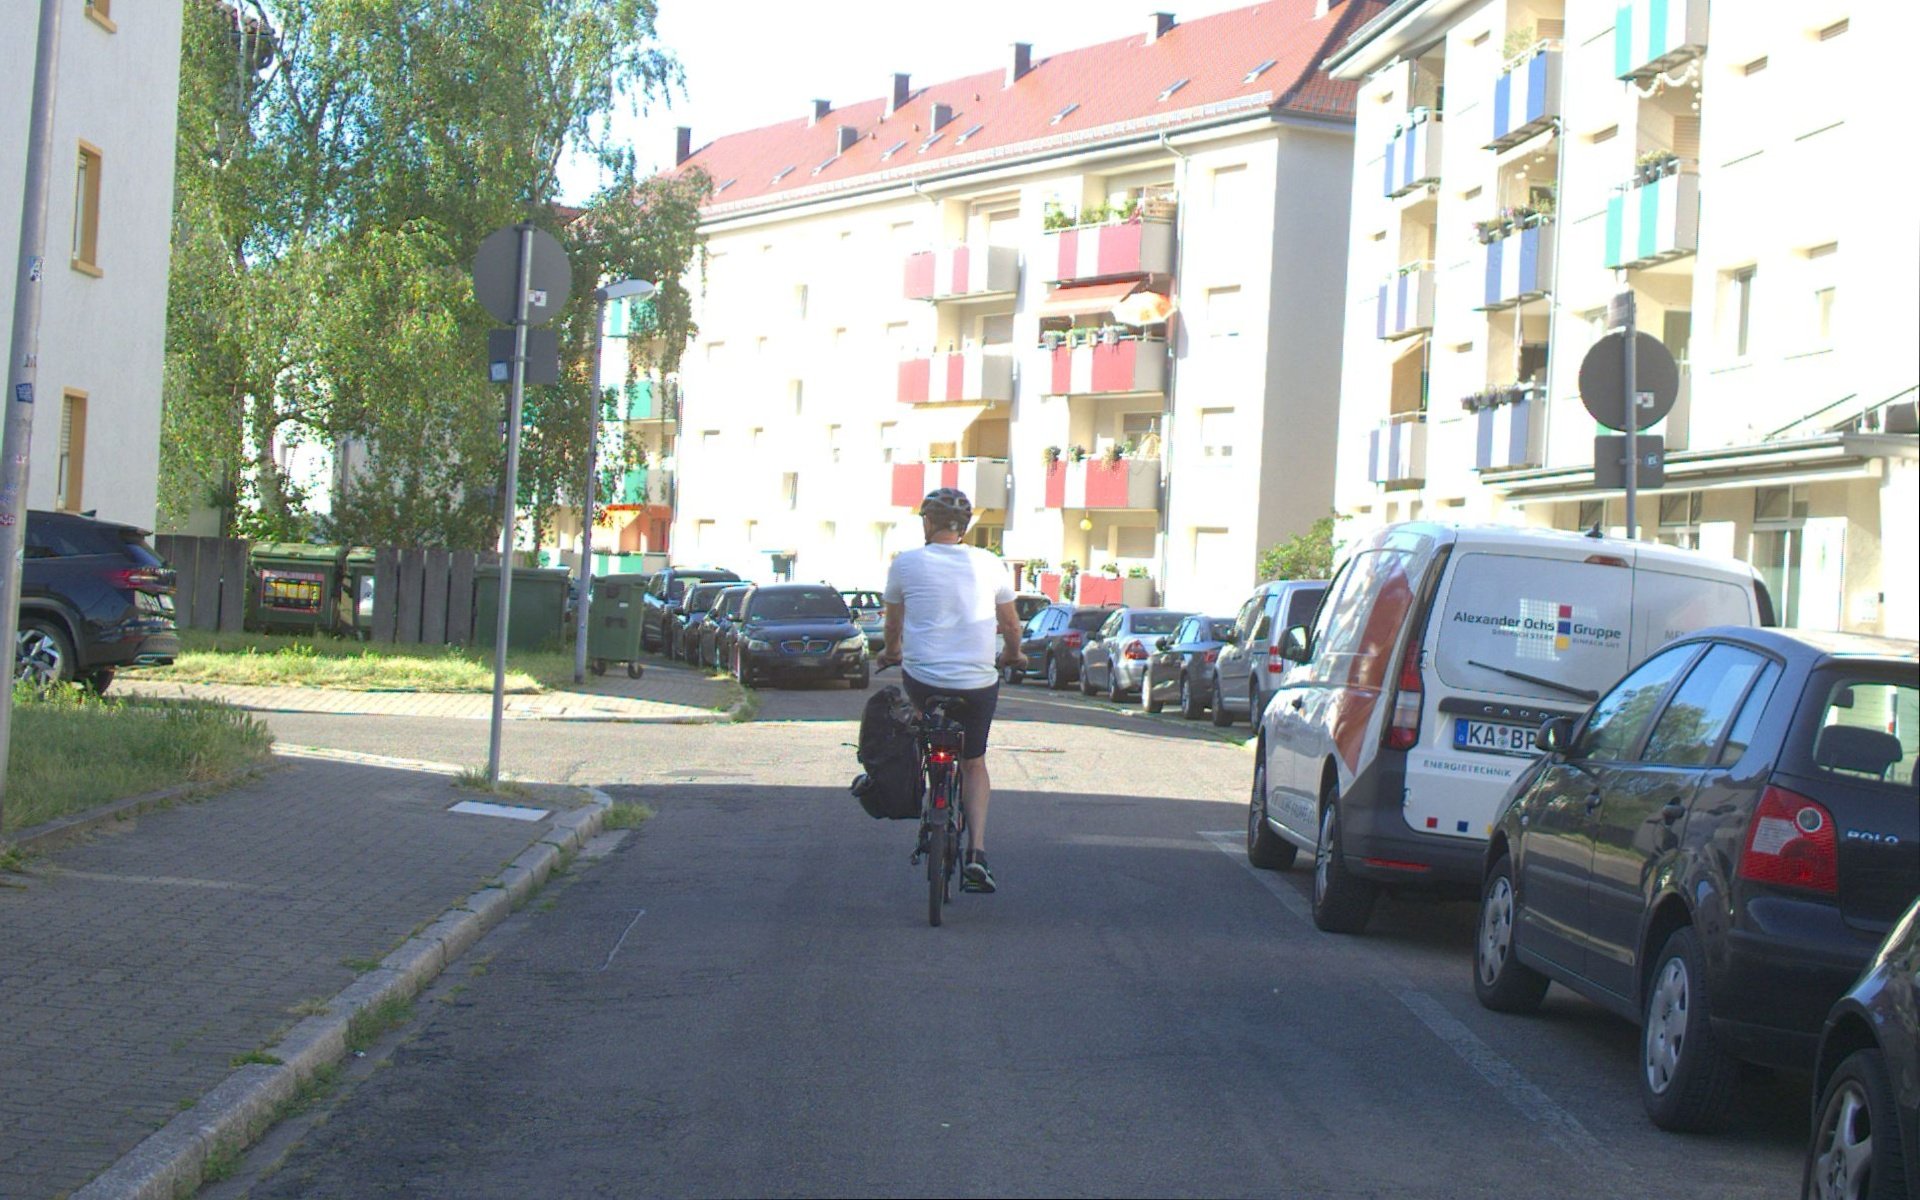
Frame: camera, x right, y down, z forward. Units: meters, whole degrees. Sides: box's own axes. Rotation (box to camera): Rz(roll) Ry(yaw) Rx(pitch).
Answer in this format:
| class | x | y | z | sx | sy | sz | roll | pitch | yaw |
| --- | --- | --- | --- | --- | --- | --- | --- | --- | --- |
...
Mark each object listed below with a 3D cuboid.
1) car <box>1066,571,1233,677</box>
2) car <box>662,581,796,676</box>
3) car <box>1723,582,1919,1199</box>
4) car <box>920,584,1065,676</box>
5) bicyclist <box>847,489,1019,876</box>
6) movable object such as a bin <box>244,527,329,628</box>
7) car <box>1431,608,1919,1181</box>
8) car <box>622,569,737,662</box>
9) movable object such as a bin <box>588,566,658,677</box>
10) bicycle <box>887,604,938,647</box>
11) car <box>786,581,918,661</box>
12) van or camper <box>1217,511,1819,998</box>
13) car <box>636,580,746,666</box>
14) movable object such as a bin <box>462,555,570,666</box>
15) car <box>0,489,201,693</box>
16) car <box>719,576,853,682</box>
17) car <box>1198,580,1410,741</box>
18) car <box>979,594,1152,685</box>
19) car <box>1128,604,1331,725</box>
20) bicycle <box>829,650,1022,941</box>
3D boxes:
| class | x | y | z | sx | sy | sz | roll | pitch | yaw |
| --- | --- | --- | --- | --- | --- | --- | --- | --- | --- |
| car | 2.861 | 0.332 | 52.983 | 1.677 | 1.442 | 4.725 | 3 | 1 | -7 |
| car | -3.684 | 0.424 | 54.323 | 1.677 | 1.437 | 4.281 | 0 | 0 | -10 |
| car | 2.725 | 0.845 | 5.906 | 1.617 | 1.545 | 3.612 | 6 | 0 | -5 |
| car | 0.577 | 0.572 | 65.574 | 1.693 | 1.650 | 4.391 | 2 | -1 | -13 |
| bicyclist | -0.105 | 0.340 | 14.589 | 0.596 | 1.573 | 0.907 | 2 | 0 | 6 |
| movable object such as a bin | -9.886 | -0.332 | 50.477 | 1.060 | 1.430 | 1.003 | 2 | 0 | -3 |
| car | 2.688 | 0.820 | 10.950 | 1.572 | 1.412 | 3.788 | 5 | 0 | -3 |
| car | -5.410 | 0.272 | 65.843 | 1.555 | 1.708 | 4.339 | 0 | 0 | -13 |
| movable object such as a bin | -4.412 | 0.275 | 45.083 | 0.775 | 1.388 | 1.417 | 3 | 0 | -3 |
| bicycle | -1.218 | 0.643 | 87.239 | 0.617 | 0.975 | 1.896 | 0 | 3 | -23 |
| car | -2.479 | 0.457 | 77.949 | 1.765 | 1.630 | 4.043 | 1 | 2 | -20 |
| van or camper | 2.398 | 0.600 | 16.045 | 1.792 | 1.741 | 4.735 | 7 | 0 | -1 |
| car | -4.710 | 0.371 | 59.841 | 1.555 | 1.437 | 3.969 | 0 | 0 | -10 |
| movable object such as a bin | -5.850 | 0.136 | 45.340 | 1.220 | 1.376 | 0.767 | 4 | 0 | 2 |
| car | -9.028 | -0.130 | 29.744 | 4.488 | 1.658 | 1.719 | 3 | -1 | -1 |
| car | -2.538 | 0.382 | 49.273 | 1.677 | 1.448 | 4.621 | 0 | 0 | -6 |
| car | 4.074 | 0.685 | 41.317 | 1.746 | 1.818 | 4.132 | 1 | 0 | -5 |
| car | 1.759 | 0.650 | 58.911 | 1.693 | 1.427 | 4.689 | 2 | 0 | -14 |
| car | 3.612 | 0.845 | 46.891 | 1.677 | 1.402 | 4.547 | 3 | 1 | -9 |
| bicycle | -0.122 | 0.785 | 14.519 | 0.627 | 1.111 | 1.815 | 1 | 0 | 5 |
